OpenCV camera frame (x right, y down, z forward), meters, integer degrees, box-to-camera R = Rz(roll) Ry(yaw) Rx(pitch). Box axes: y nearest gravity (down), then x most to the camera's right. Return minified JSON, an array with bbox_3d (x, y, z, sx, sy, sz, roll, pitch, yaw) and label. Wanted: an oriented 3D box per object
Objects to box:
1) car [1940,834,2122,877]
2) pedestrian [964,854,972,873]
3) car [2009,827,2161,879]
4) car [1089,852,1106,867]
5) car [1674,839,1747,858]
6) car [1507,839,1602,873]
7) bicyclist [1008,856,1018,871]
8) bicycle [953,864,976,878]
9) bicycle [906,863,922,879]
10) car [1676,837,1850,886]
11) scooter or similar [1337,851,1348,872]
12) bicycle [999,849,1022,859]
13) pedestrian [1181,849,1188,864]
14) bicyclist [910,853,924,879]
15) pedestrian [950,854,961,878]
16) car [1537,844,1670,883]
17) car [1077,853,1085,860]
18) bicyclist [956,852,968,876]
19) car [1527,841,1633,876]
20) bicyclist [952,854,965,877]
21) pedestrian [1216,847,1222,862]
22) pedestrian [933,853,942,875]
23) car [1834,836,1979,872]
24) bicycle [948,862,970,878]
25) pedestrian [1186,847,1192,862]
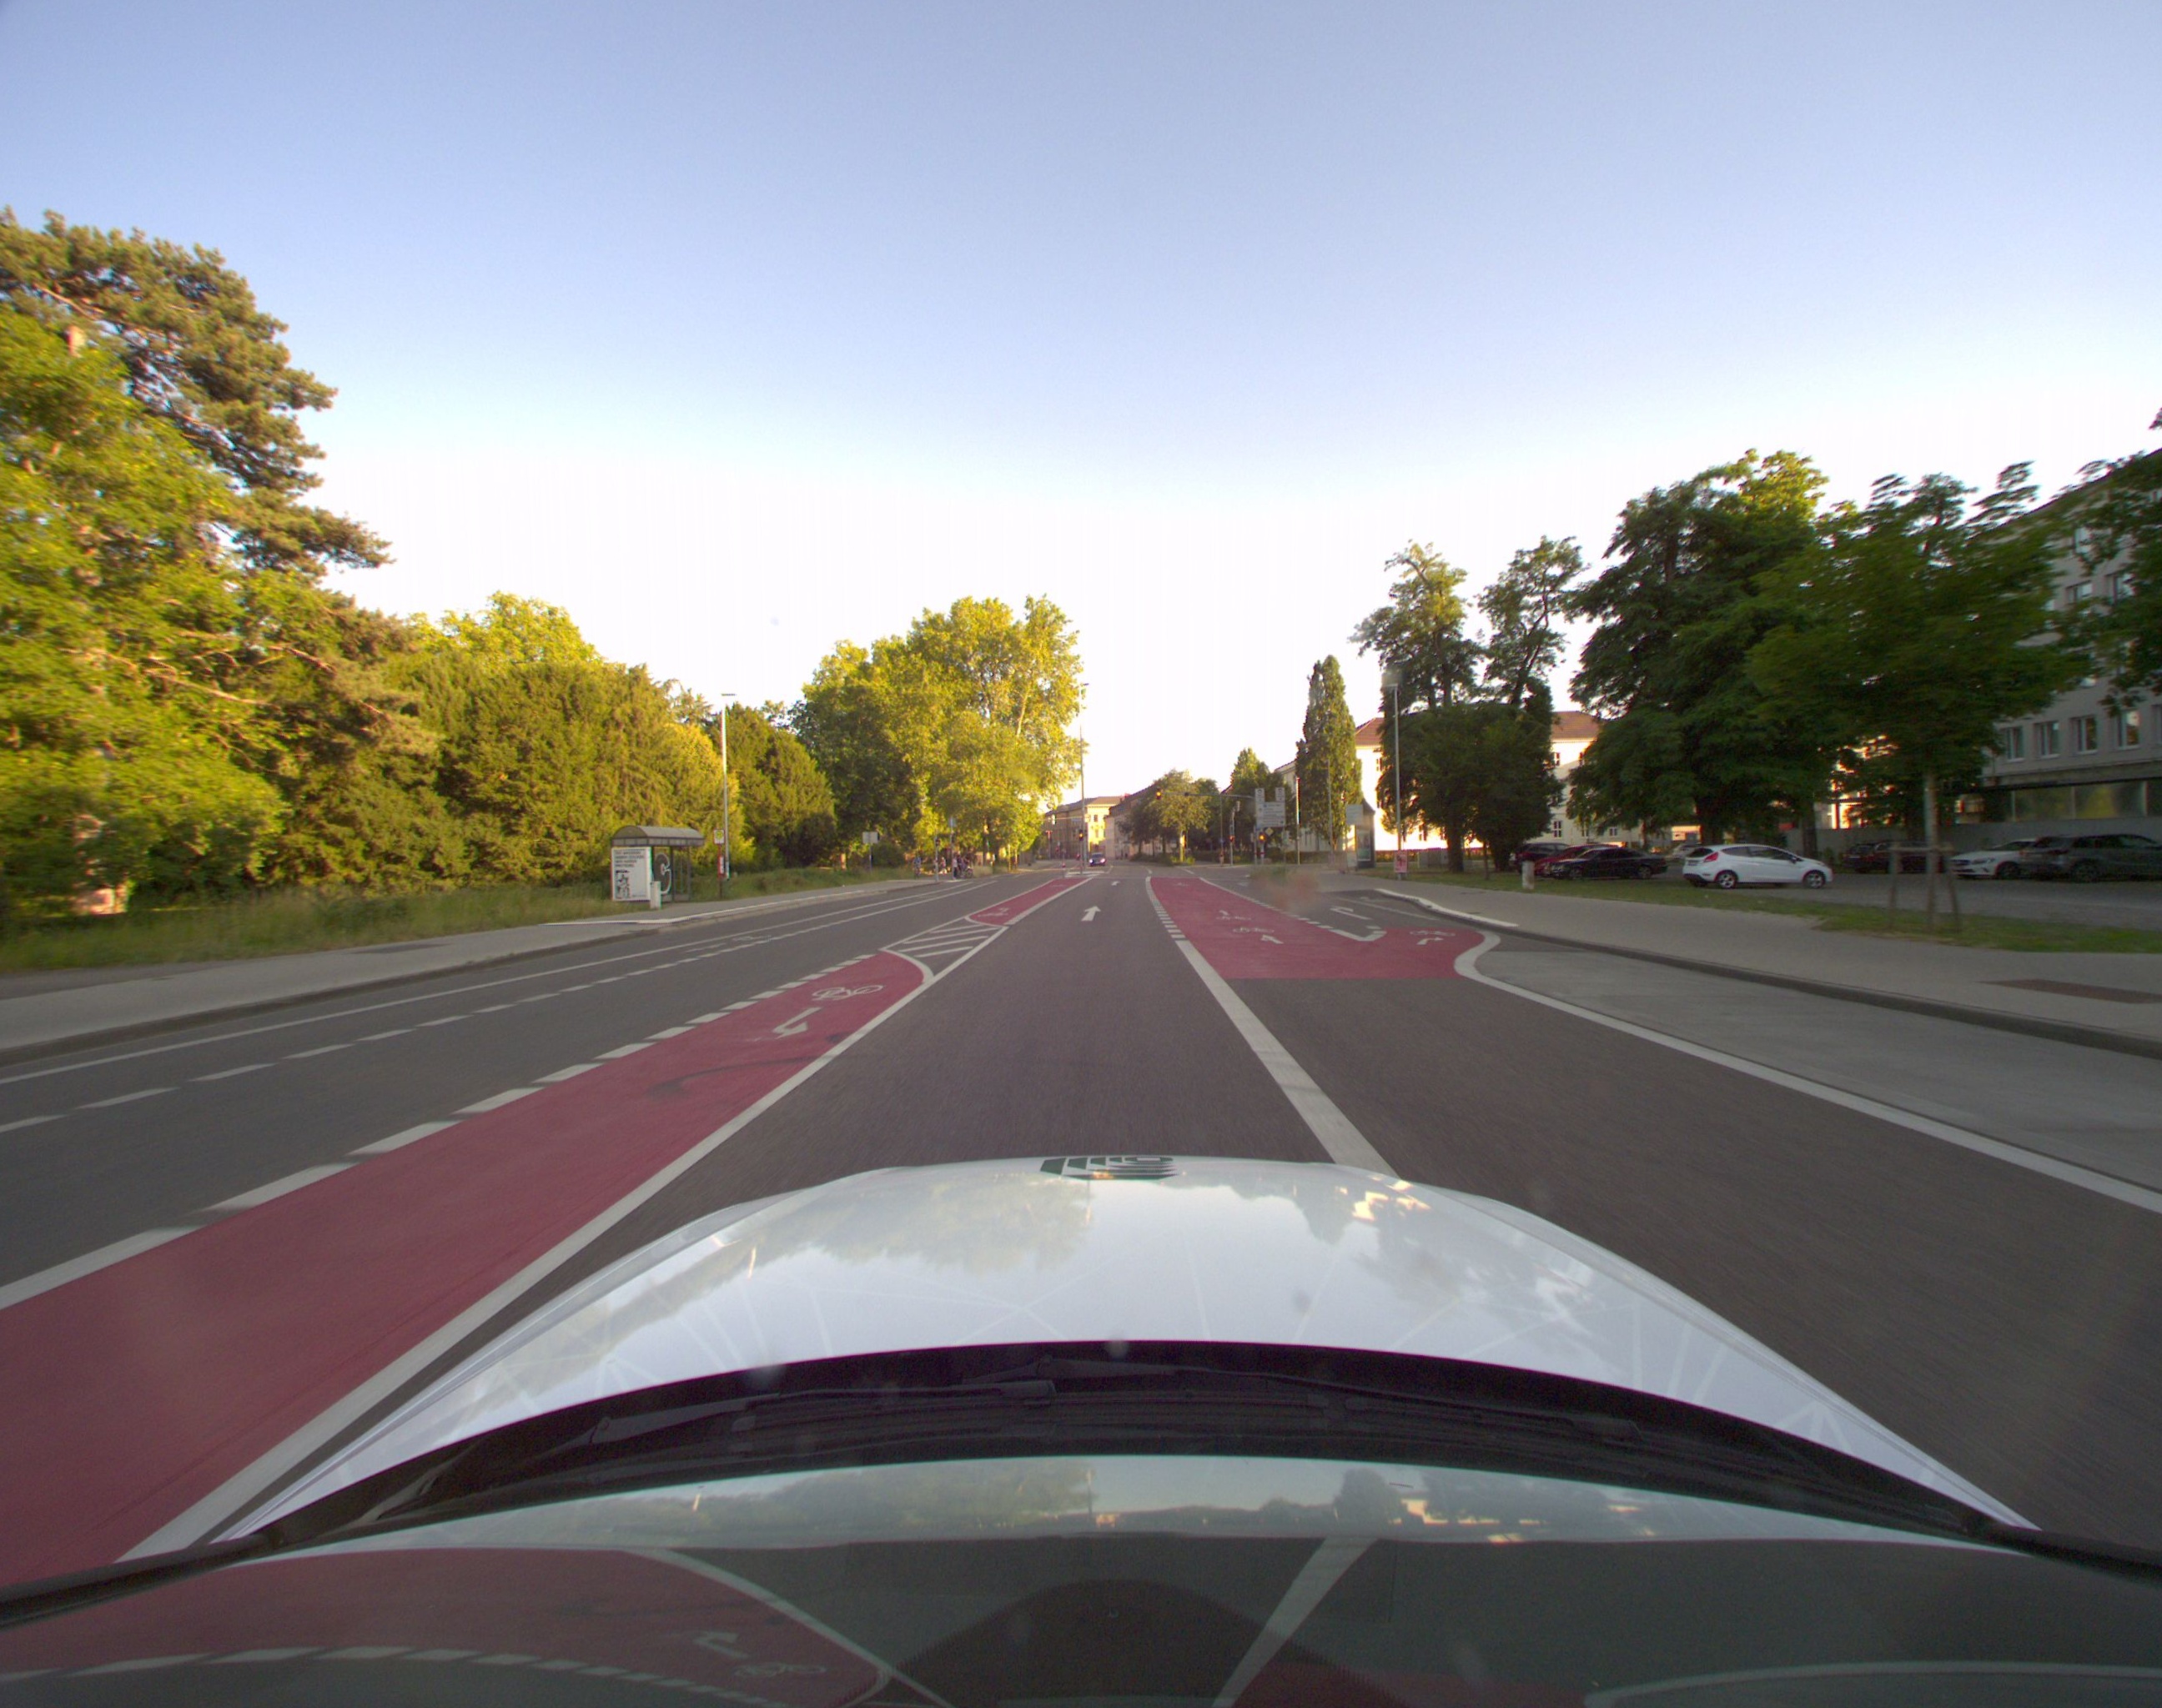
[{"bbox_3d":[33.835,0.055,29.136,3.961,1.475,1.839,0,0,11],"label":"car"},{"bbox_3d":[-12.105,0.967,87.470,0.636,2.013,0.702,-2,0,6],"label":"pedestrian"},{"bbox_3d":[33.763,-0.016,26.744,3.959,1.617,1.920,0,-1,13],"label":"car"},{"bbox_3d":[1.991,0.632,98.432,1.842,1.720,4.299,-1,0,3],"label":"car"},{"bbox_3d":[47.775,-0.410,61.885,3.962,1.342,1.825,-1,0,10],"label":"car"},{"bbox_3d":[24.454,0.101,42.171,3.875,1.694,1.841,0,0,8],"label":"car"},{"bbox_3d":[-7.344,1.002,87.941,0.953,1.631,0.754,-1,0,5],"label":"bicyclist"},{"bbox_3d":[-8.765,1.304,61.160,1.749,1.030,0.583,-2,0,35],"label":"bicycle"},{"bbox_3d":[-12.299,1.222,59.902,0.768,1.100,2.121,-1,0,-1],"label":"bicycle"},{"bbox_3d":[22.169,0.250,26.611,3.965,1.537,1.916,0,0,7],"label":"car"},{"bbox_3d":[15.482,0.451,48.231,0.309,1.231,1.312,-1,0,4],"label":"scooter or similar"},{"bbox_3d":[-7.599,-0.002,87.984,2.418,0.924,0.776,-1,0,5],"label":"bicycle"},{"bbox_3d":[13.486,0.336,106.584,0.866,2.013,0.723,0,0,4],"label":"pedestrian"},{"bbox_3d":[-12.026,0.873,59.726,0.732,1.824,0.712,-3,0,2],"label":"bicyclist"},{"bbox_3d":[-8.876,0.841,57.475,0.604,1.695,0.499,-1,0,5],"label":"pedestrian"},{"bbox_3d":[23.083,0.439,36.119,4.545,1.449,1.904,-3,-2,6],"label":"car"},{"bbox_3d":[-0.072,0.669,200.353,1.814,1.589,3.999,-2,0,0],"label":"car"},{"bbox_3d":[-8.919,0.722,61.267,0.631,1.780,0.580,-2,0,35],"label":"bicyclist"},{"bbox_3d":[23.929,0.213,39.179,3.961,1.561,1.791,-2,0,10],"label":"car"},{"bbox_3d":[-8.954,0.816,59.638,0.631,1.649,0.634,-2,0,35],"label":"bicyclist"},{"bbox_3d":[15.539,0.041,91.965,0.597,1.636,0.692,0,0,2],"label":"pedestrian"},{"bbox_3d":[-12.934,0.899,73.324,0.653,2.013,0.600,0,0,-34],"label":"pedestrian"},{"bbox_3d":[34.979,0.012,34.620,3.963,1.442,1.907,0,0,9],"label":"car"},{"bbox_3d":[-8.898,1.196,59.603,1.548,1.111,0.637,-2,0,35],"label":"bicycle"},{"bbox_3d":[14.195,0.061,107.076,0.633,2.013,0.720,0,0,1],"label":"pedestrian"}]
